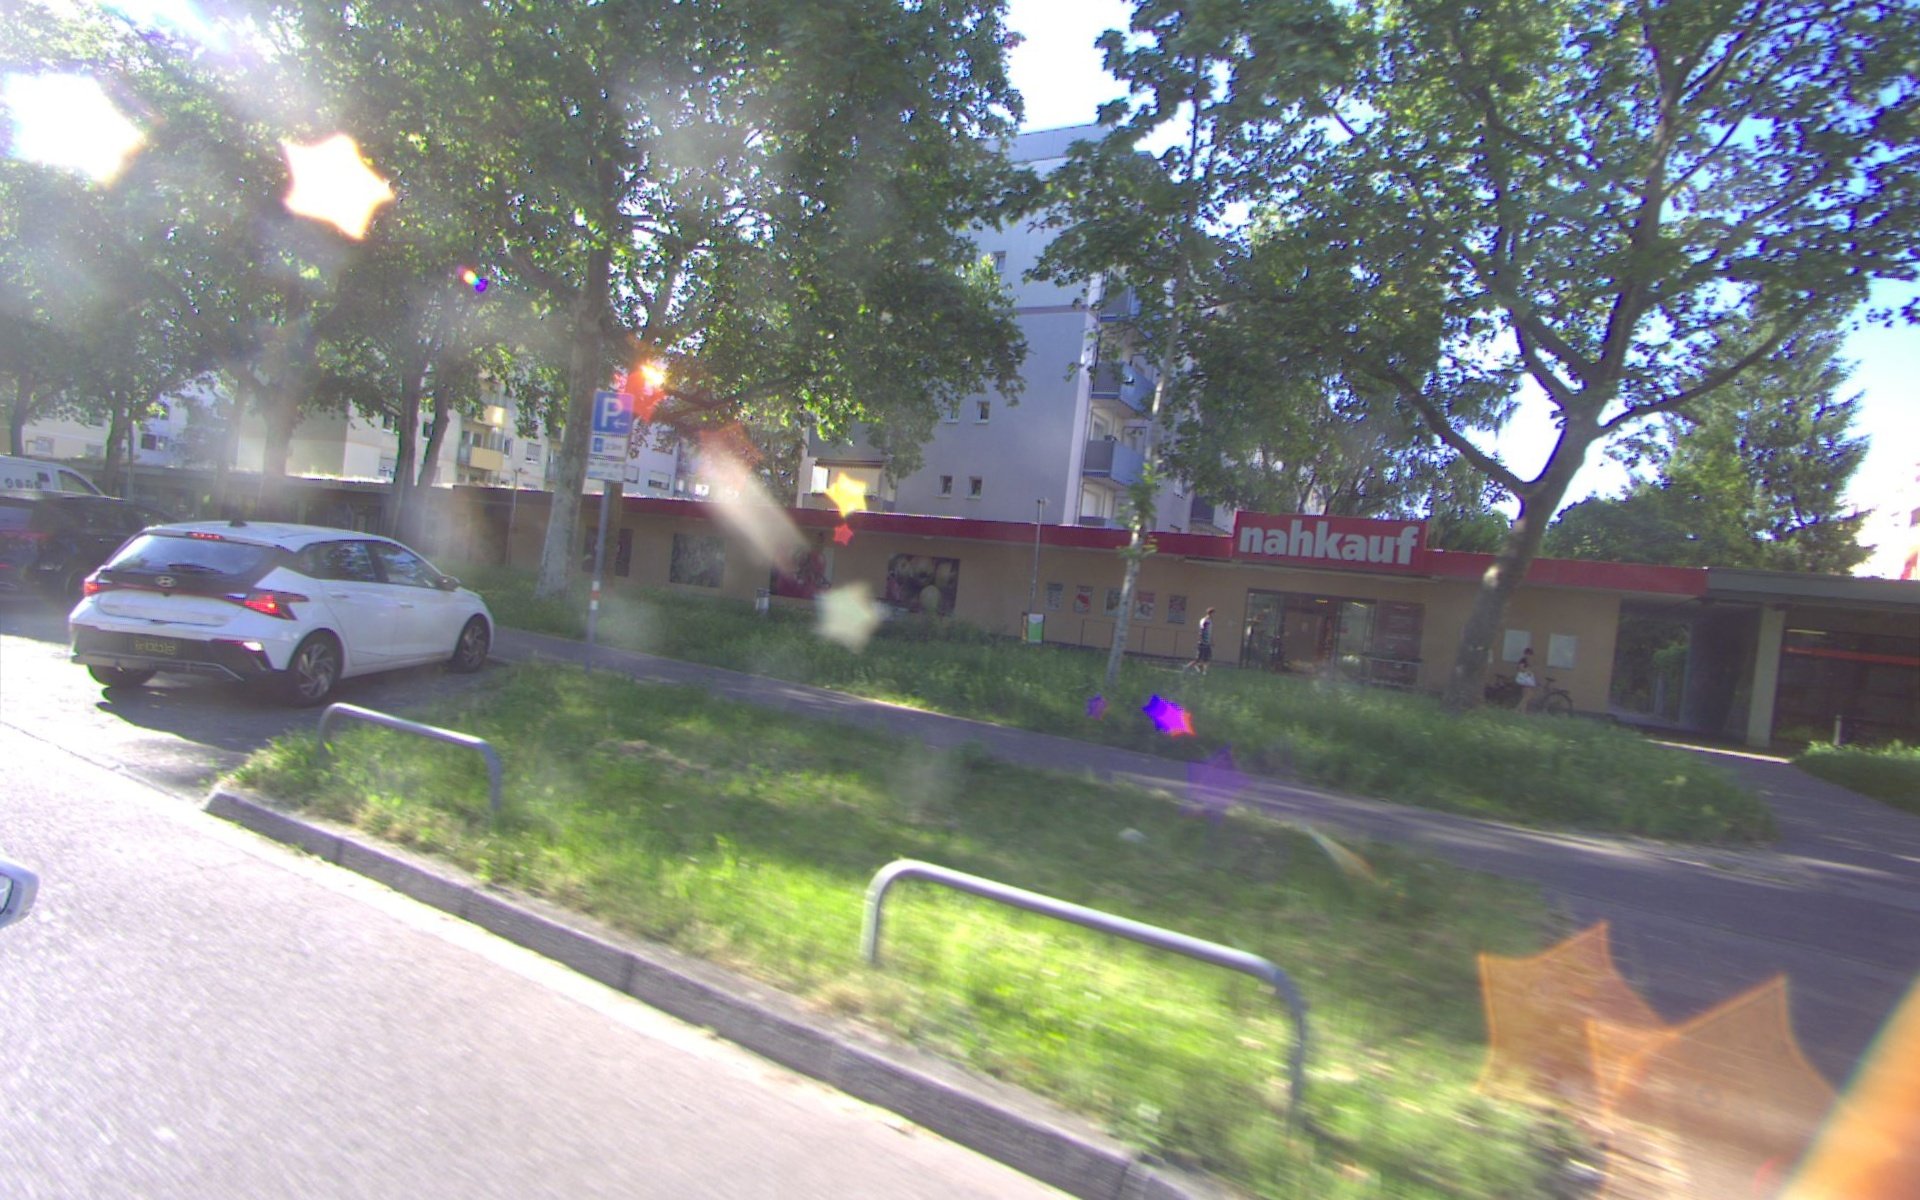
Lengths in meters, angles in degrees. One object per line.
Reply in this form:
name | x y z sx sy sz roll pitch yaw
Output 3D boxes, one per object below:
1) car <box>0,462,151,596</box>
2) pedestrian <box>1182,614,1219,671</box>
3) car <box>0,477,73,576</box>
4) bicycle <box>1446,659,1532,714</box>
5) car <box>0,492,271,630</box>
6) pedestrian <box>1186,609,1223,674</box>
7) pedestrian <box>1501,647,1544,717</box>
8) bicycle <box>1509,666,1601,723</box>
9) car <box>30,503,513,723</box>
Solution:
car | -14.530 -1.105 14.832 1.799 1.877 4.662 5 1 -8
pedestrian | 6.516 1.137 27.203 0.703 1.449 0.532 8 2 26
car | -17.491 -1.352 16.837 1.730 1.727 4.493 5 1 -9
bicycle | 13.773 2.236 26.255 0.592 1.194 1.836 7 -1 -30
car | -11.366 -0.580 13.219 1.765 1.449 3.992 6 3 1
pedestrian | 6.792 1.148 27.923 0.703 1.722 0.495 8 2 27
pedestrian | 13.827 2.001 24.742 0.703 1.605 0.672 8 2 26
bicycle | 15.136 2.393 25.617 0.594 1.194 1.832 7 0 -36
car | -6.089 0.036 9.577 1.728 1.489 3.994 6 2 1
